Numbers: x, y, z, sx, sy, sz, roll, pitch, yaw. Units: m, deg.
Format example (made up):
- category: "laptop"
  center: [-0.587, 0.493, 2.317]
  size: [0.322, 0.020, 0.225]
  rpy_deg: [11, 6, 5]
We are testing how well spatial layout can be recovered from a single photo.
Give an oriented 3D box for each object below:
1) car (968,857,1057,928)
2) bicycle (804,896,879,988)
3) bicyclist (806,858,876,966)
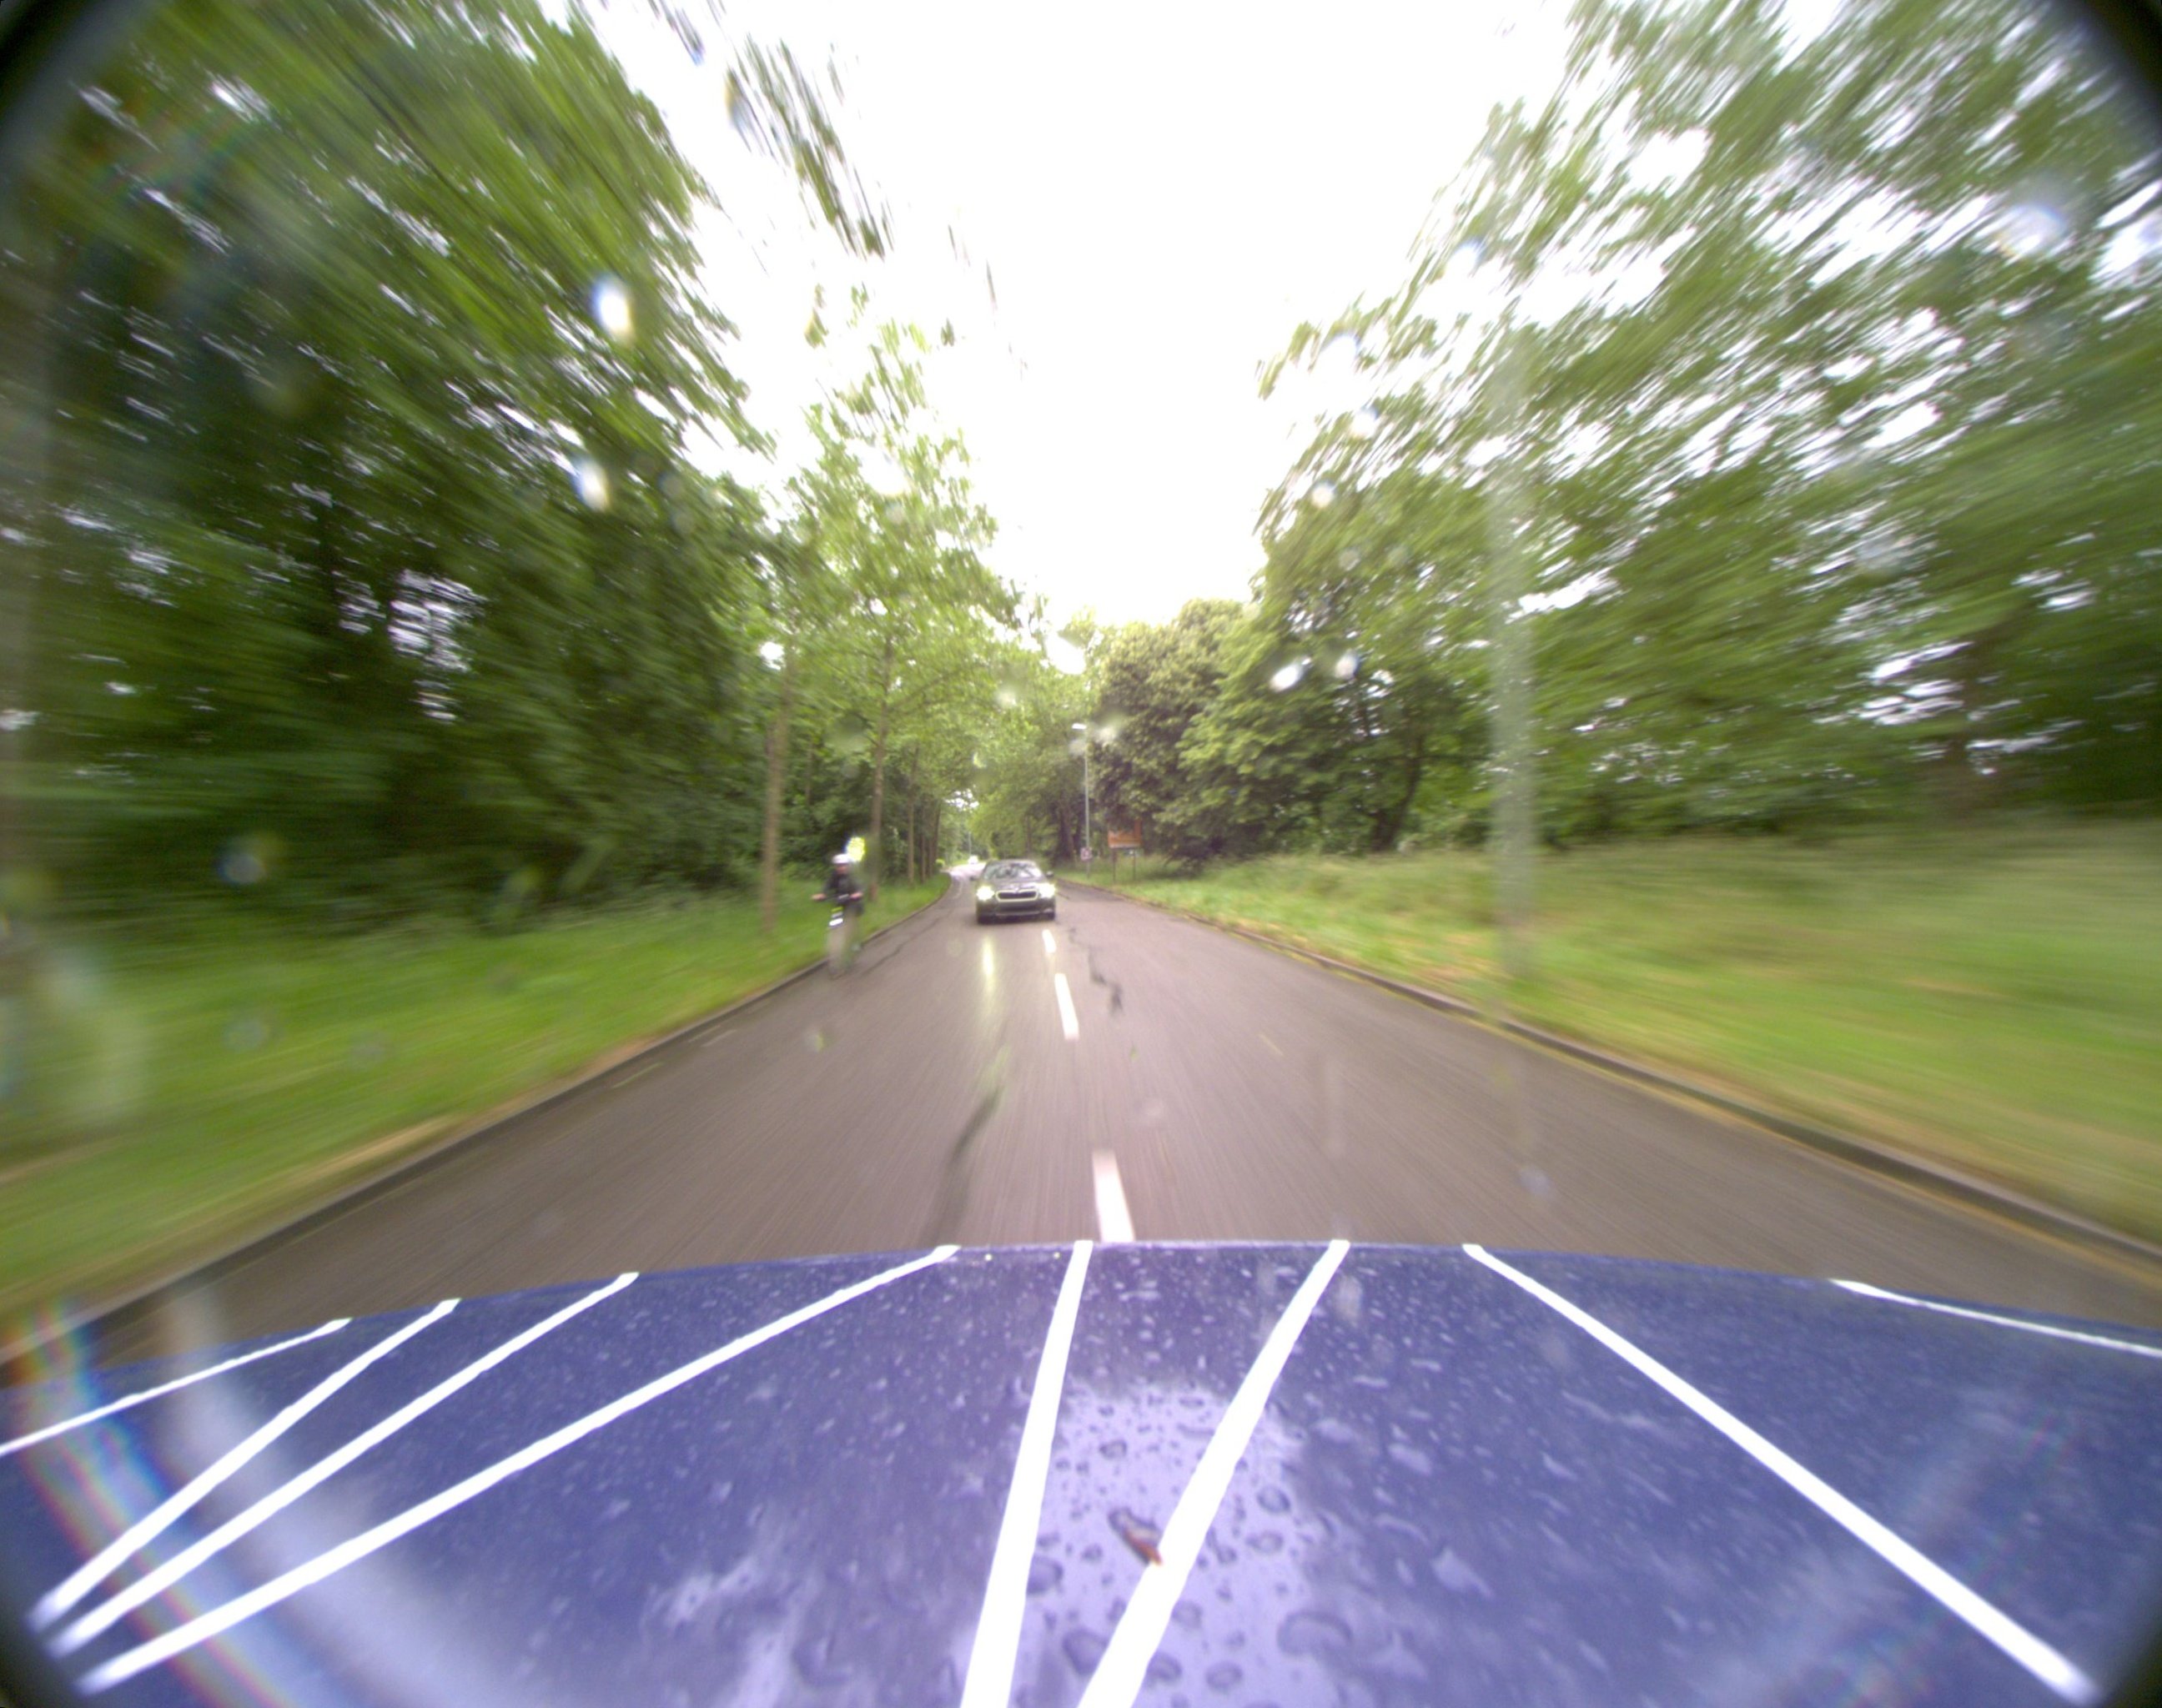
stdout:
- category: "car"
  center: [-1.659, 0.893, 19.954]
  size: [1.843, 1.486, 4.901]
  rpy_deg: [-3, 0, 0]
- category: "bicycle"
  center: [-3.513, 1.254, 11.305]
  size: [0.453, 1.127, 1.833]
  rpy_deg: [-3, 1, 1]
- category: "bicyclist"
  center: [-3.526, 0.831, 11.209]
  size: [0.698, 1.489, 0.800]
  rpy_deg: [-2, 1, 1]
